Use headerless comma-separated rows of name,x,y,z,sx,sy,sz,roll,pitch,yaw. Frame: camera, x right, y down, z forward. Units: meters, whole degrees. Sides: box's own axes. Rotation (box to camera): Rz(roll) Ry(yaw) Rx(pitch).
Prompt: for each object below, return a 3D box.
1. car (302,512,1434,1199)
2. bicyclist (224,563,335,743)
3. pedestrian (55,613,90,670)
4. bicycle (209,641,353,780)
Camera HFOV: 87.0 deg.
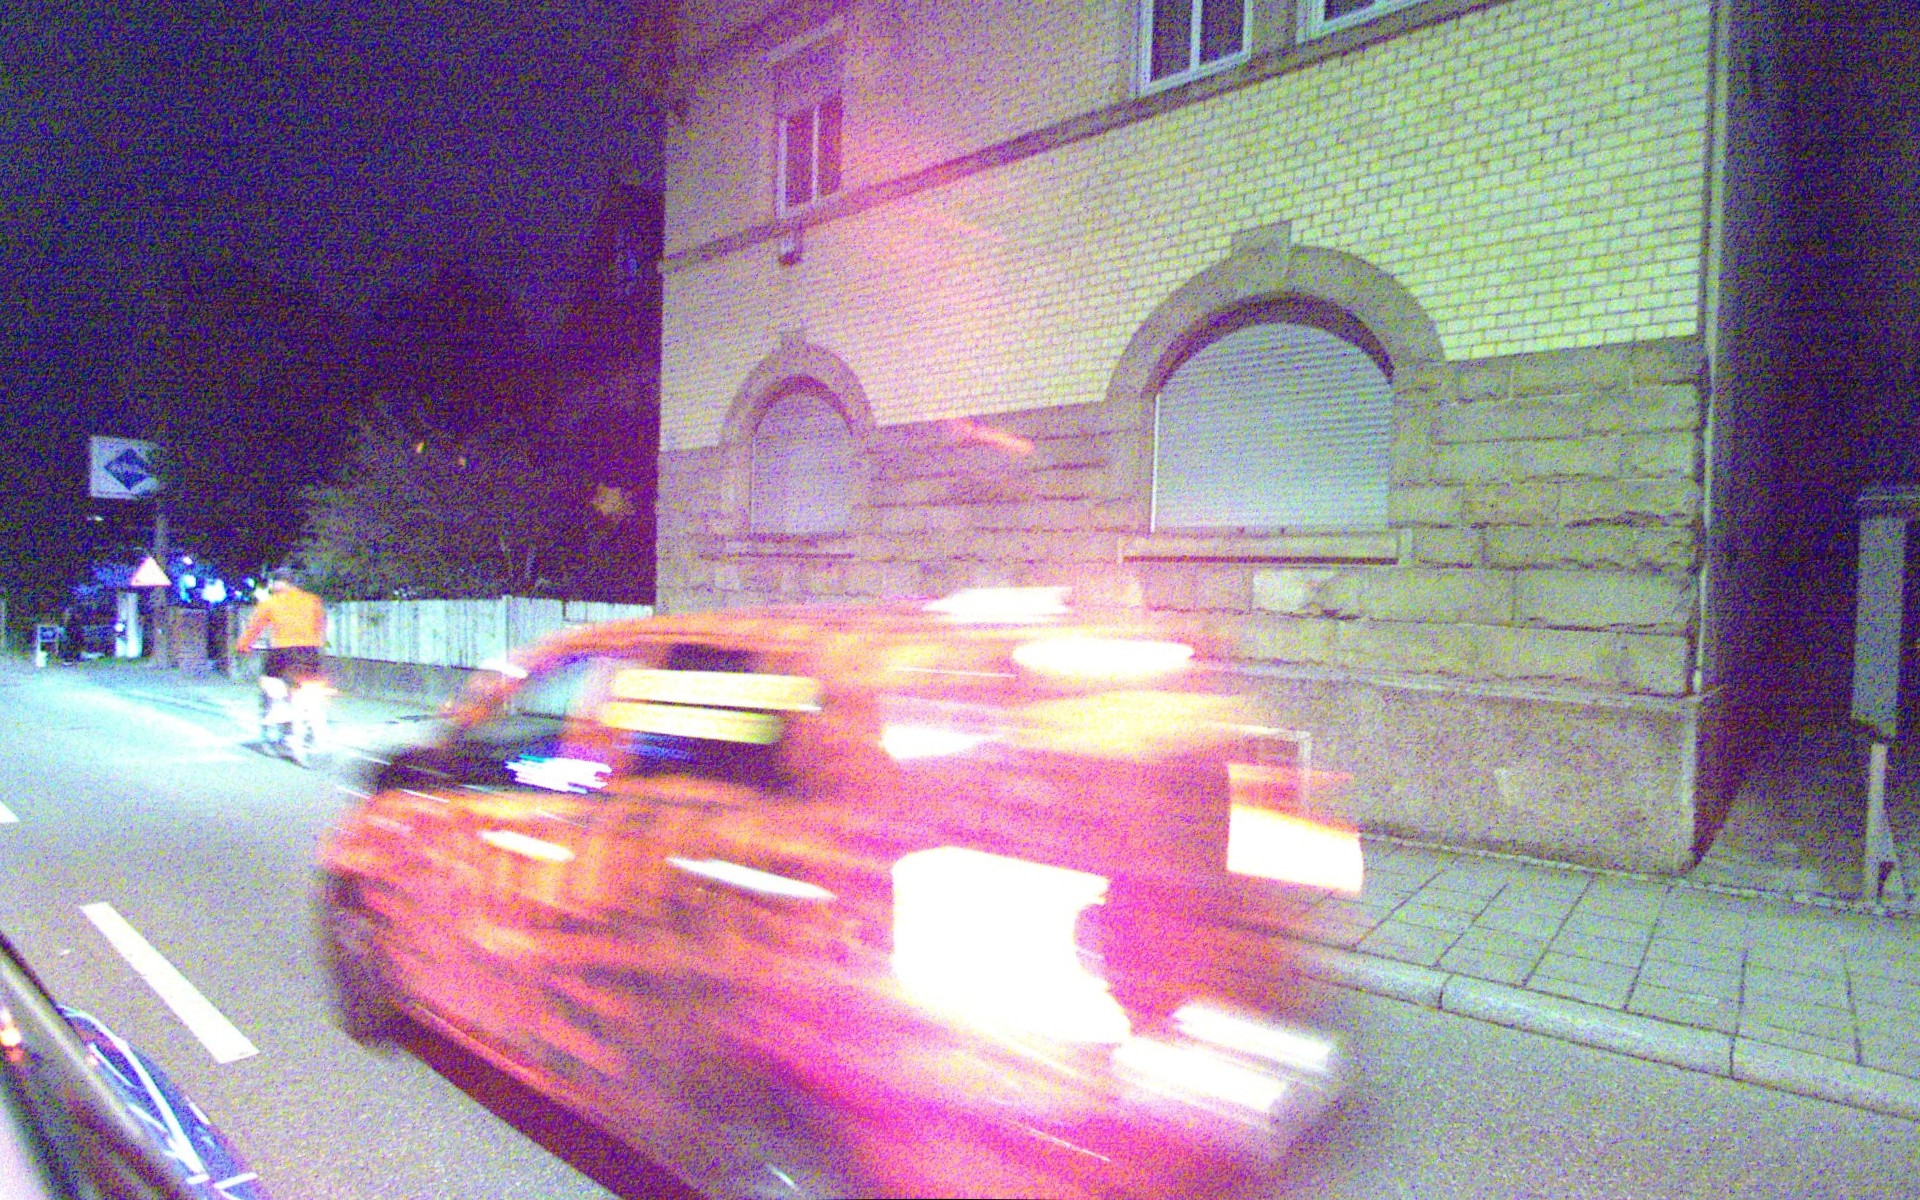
car,-0.593,0.663,3.106,3.395,1.513,1.565,-1,-1,42
bicyclist,-6.608,0.488,9.823,0.896,1.649,0.683,-1,0,41
pedestrian,-27.652,1.269,31.537,0.865,1.739,0.662,-1,-1,38
bicycle,-6.632,1.011,9.839,1.950,1.157,0.689,-1,0,41
